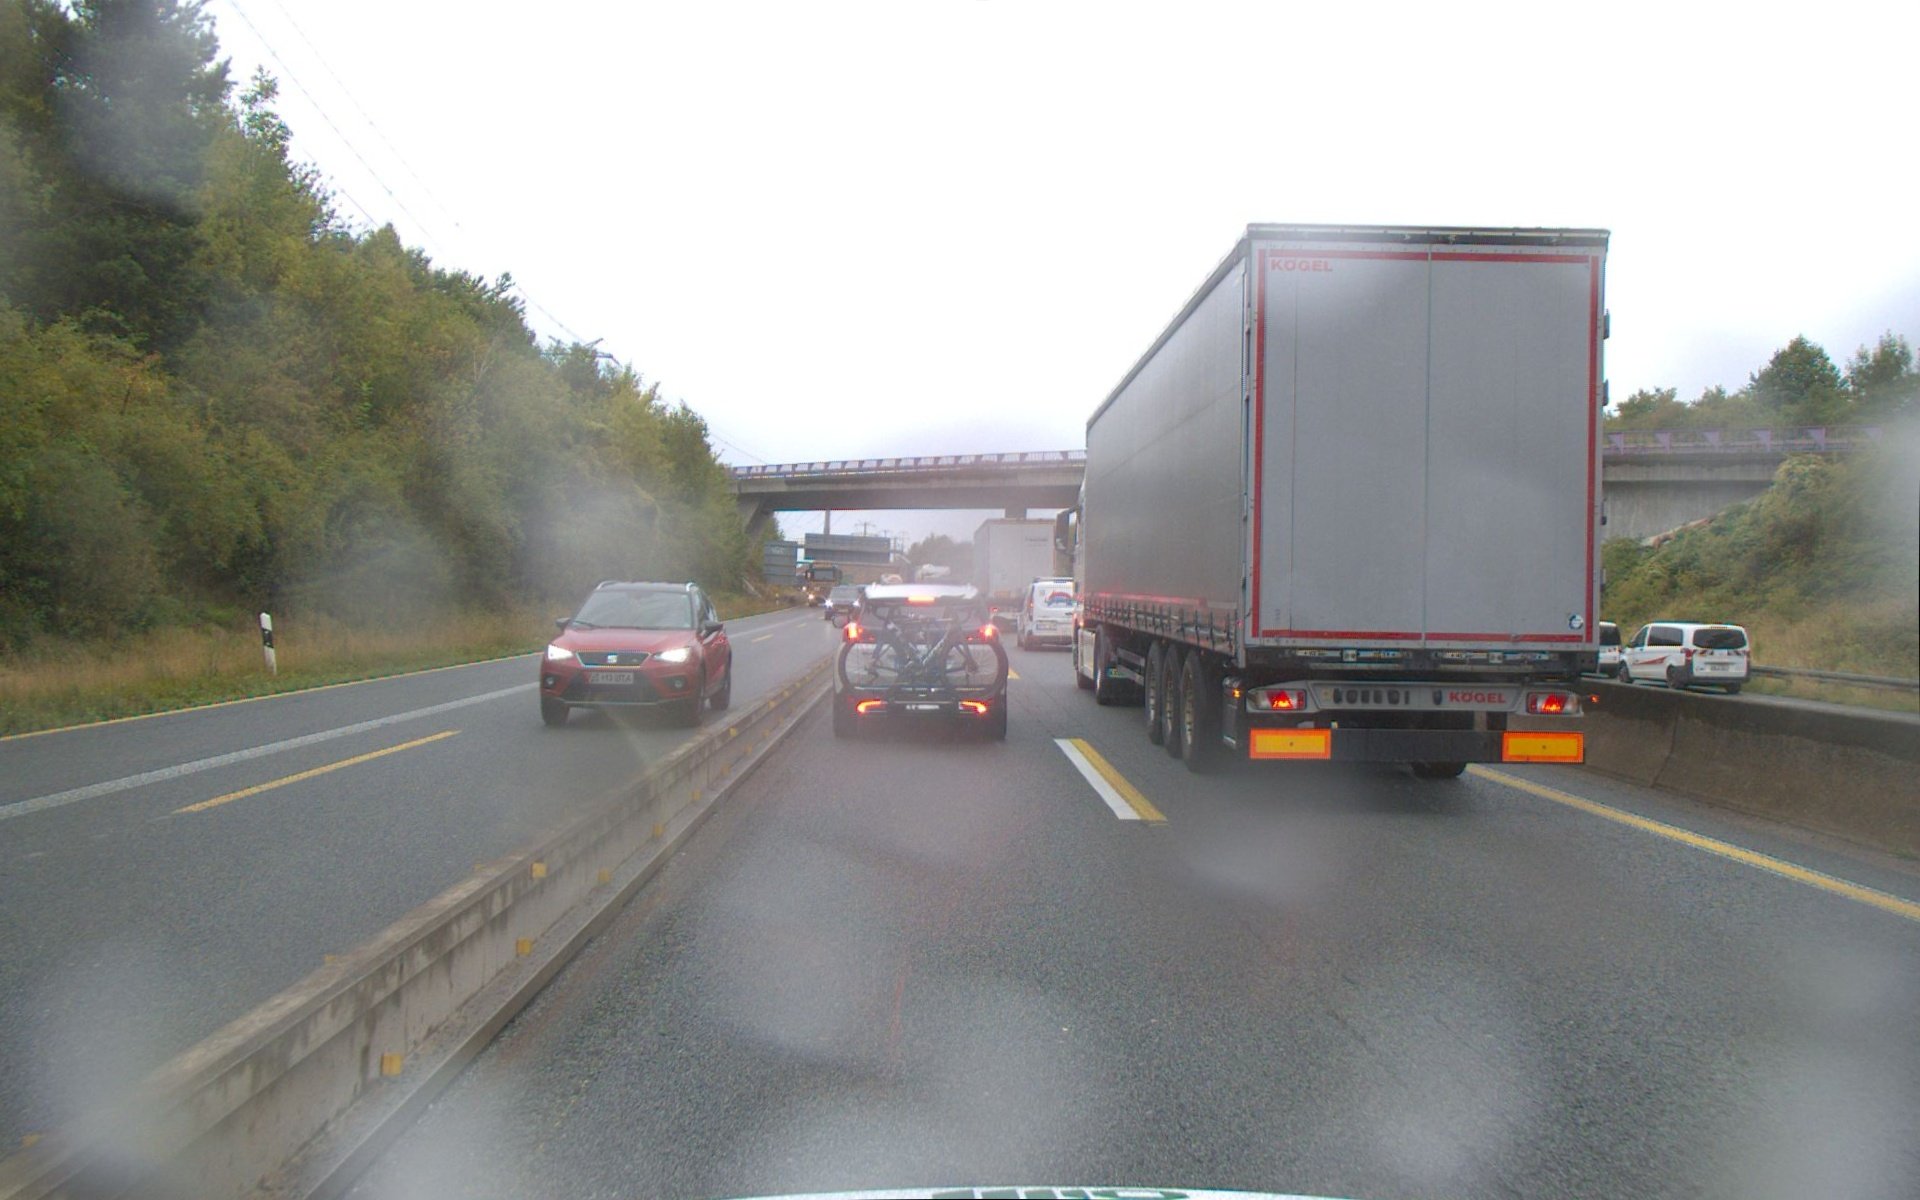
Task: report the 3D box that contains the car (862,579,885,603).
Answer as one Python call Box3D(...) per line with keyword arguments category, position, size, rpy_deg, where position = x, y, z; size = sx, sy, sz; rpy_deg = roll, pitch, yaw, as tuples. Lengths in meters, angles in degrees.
Box3D(category="car", position=(-6.820, -0.677, 131.259), size=(1.774, 1.856, 4.633), rpy_deg=(1, 0, -2))

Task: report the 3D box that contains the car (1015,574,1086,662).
Box3D(category="car", position=(2.361, 0.454, 44.020), size=(1.635, 2.218, 4.535), rpy_deg=(1, 0, 0))

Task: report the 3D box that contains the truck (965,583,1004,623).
Box3D(category="truck", position=(1.264, 0.138, 87.601), size=(1.953, 2.049, 3.999), rpy_deg=(1, 0, -1))

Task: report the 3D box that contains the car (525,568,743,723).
Box3D(category="car", position=(-3.647, 0.476, 19.153), size=(1.758, 1.583, 3.999), rpy_deg=(1, 0, -1))

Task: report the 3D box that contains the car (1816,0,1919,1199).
Box3D(category="car", position=(3.018, 0.094, 0.760), size=(2.100, 2.722, 6.117), rpy_deg=(1, 0, 0))

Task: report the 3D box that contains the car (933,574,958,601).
Box3D(category="car", position=(-1.170, -0.987, 131.087), size=(1.953, 2.049, 3.999), rpy_deg=(1, 0, -1))

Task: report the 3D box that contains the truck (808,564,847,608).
Box3D(category="truck", position=(-10.809, -1.106, 135.578), size=(2.484, 3.411, 12.046), rpy_deg=(1, 0, -2))

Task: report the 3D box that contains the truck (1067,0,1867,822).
Box3D(category="truck", position=(3.918, -1.475, 20.803), size=(3.898, 5.772, 20.375), rpy_deg=(1, 0, 0))

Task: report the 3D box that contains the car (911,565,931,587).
Box3D(category="car", position=(-3.948, -2.412, 169.769), size=(1.953, 2.164, 4.526), rpy_deg=(1, 0, -1))

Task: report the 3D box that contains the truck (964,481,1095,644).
Box3D(category="truck", position=(2.556, -1.339, 69.577), size=(4.645, 5.772, 20.375), rpy_deg=(1, 0, 0))

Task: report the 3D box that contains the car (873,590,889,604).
Box3D(category="car", position=(-8.189, -0.273, 171.711), size=(1.652, 1.434, 3.928), rpy_deg=(1, 0, -2))

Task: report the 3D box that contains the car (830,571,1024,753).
Box3D(category="car", position=(-0.290, 0.576, 17.610), size=(1.773, 1.666, 4.635), rpy_deg=(1, 0, 0))

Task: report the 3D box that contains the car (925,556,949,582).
Box3D(category="car", position=(-2.140, -2.883, 156.756), size=(2.193, 2.347, 4.571), rpy_deg=(1, 0, -1))

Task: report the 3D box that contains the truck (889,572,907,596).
Box3D(category="truck", position=(-9.163, -2.376, 244.756), size=(2.484, 3.411, 12.046), rpy_deg=(1, 0, -2))

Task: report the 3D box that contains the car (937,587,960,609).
Box3D(category="car", position=(-0.824, -0.122, 117.264), size=(1.605, 1.524, 3.665), rpy_deg=(1, 0, -1))

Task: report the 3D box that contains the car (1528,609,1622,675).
Box3D(category="car", position=(20.544, 1.377, 55.386), size=(1.693, 2.094, 4.124), rpy_deg=(1, 0, 1))

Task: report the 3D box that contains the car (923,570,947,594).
Box3D(category="car", position=(-2.168, -1.545, 143.900), size=(1.953, 2.049, 3.999), rpy_deg=(1, 0, -1))

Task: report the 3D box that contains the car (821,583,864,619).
Box3D(category="car", position=(-5.699, 0.058, 80.494), size=(1.773, 1.661, 4.118), rpy_deg=(1, 0, 0))

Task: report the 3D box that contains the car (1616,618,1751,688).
Box3D(category="car", position=(20.717, 1.478, 47.580), size=(1.902, 1.861, 4.727), rpy_deg=(1, 0, 1))
